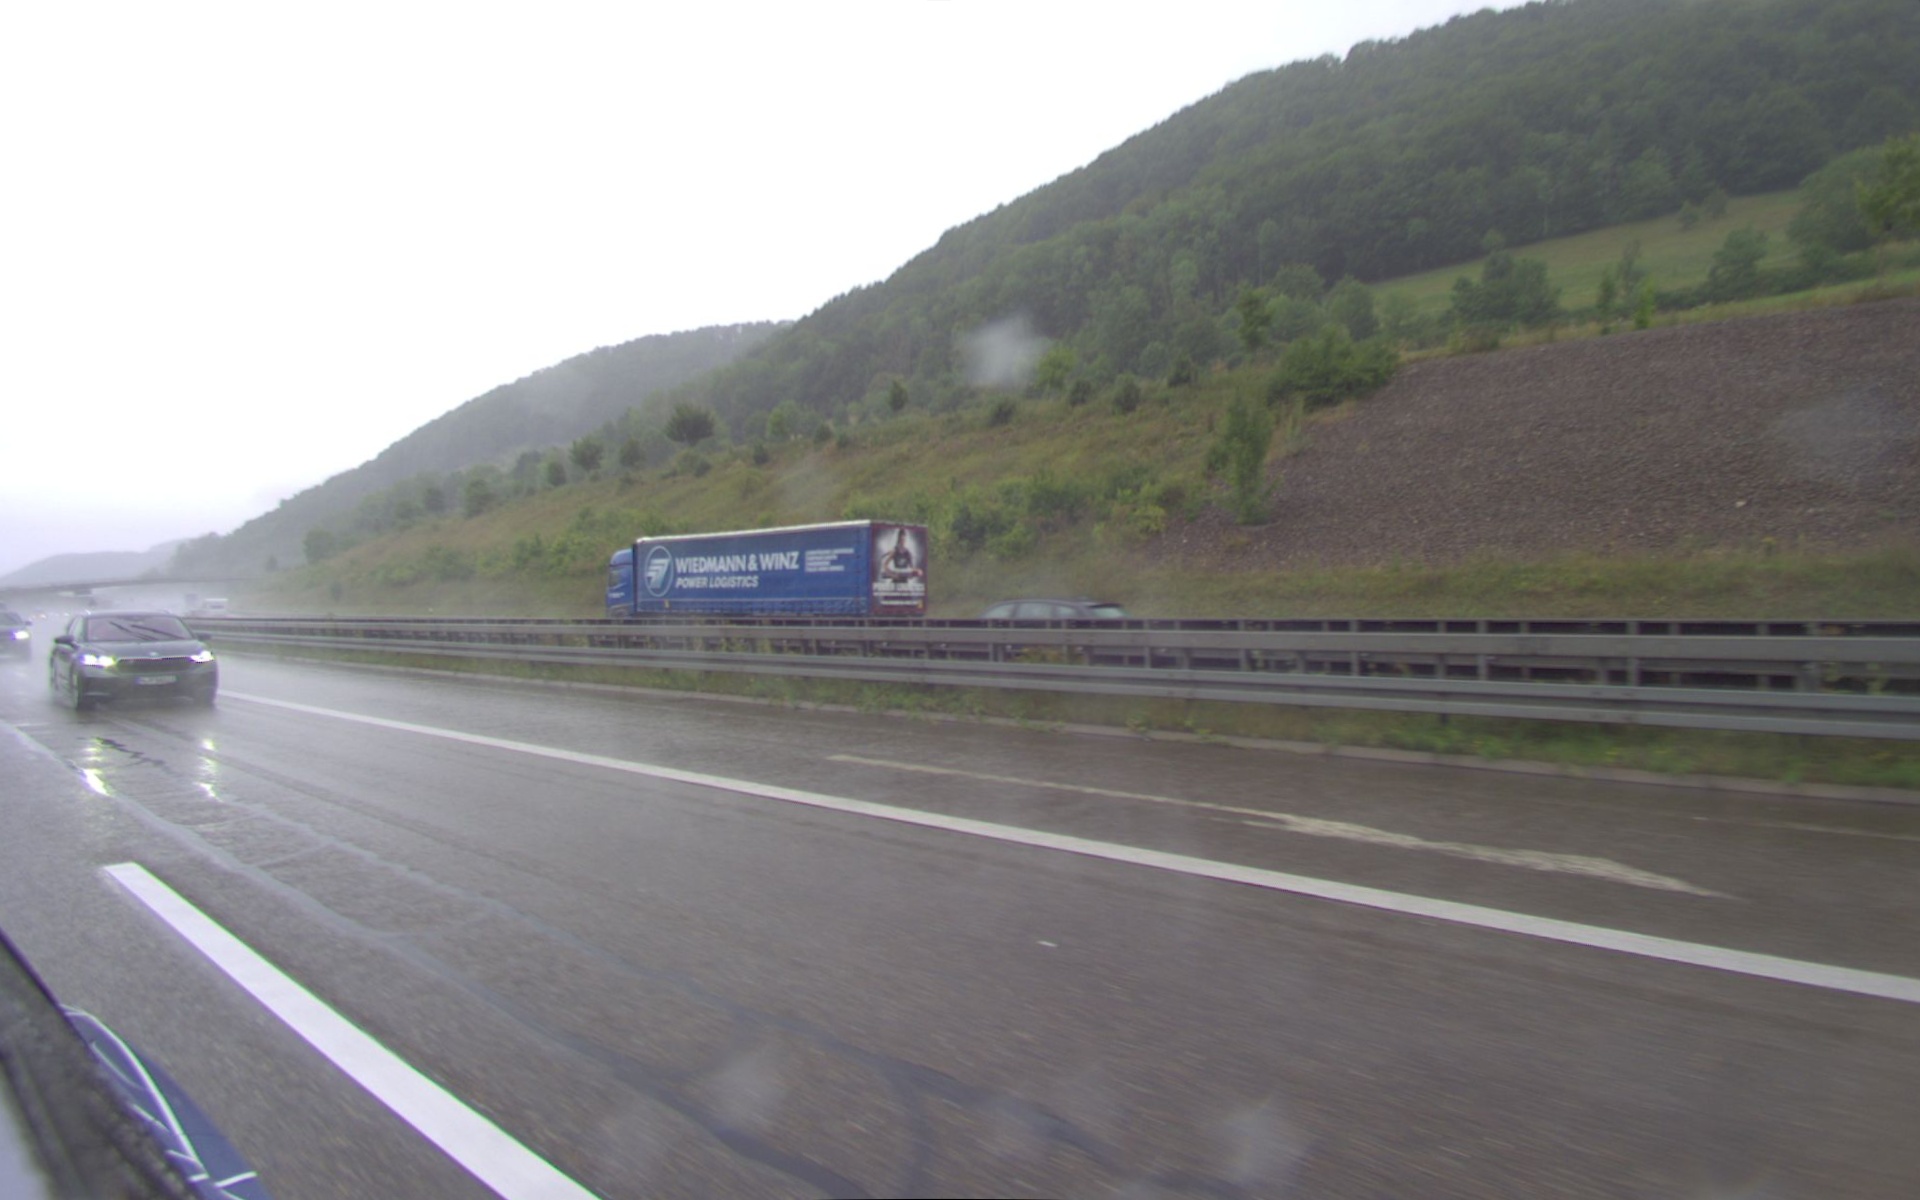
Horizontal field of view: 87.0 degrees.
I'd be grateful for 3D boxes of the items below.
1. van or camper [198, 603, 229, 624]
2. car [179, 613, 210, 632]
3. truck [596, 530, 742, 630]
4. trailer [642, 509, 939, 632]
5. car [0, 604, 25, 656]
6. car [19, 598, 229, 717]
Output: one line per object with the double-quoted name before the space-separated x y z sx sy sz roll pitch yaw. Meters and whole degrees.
"van or camper" -96.610 1.761 130.917 2.317 2.583 7.211 -1 0 -44
"car" -80.278 2.383 106.105 4.001 1.874 1.971 -1 0 44
"truck" -11.781 -0.719 40.698 6.206 3.711 2.751 -1 0 42
"trailer" -6.513 -0.809 35.887 13.243 3.709 2.783 -1 0 42
"car" -33.518 1.021 34.820 3.751 1.715 1.789 0 1 45
"car" -14.544 0.877 17.507 4.906 1.695 1.973 -1 2 41
